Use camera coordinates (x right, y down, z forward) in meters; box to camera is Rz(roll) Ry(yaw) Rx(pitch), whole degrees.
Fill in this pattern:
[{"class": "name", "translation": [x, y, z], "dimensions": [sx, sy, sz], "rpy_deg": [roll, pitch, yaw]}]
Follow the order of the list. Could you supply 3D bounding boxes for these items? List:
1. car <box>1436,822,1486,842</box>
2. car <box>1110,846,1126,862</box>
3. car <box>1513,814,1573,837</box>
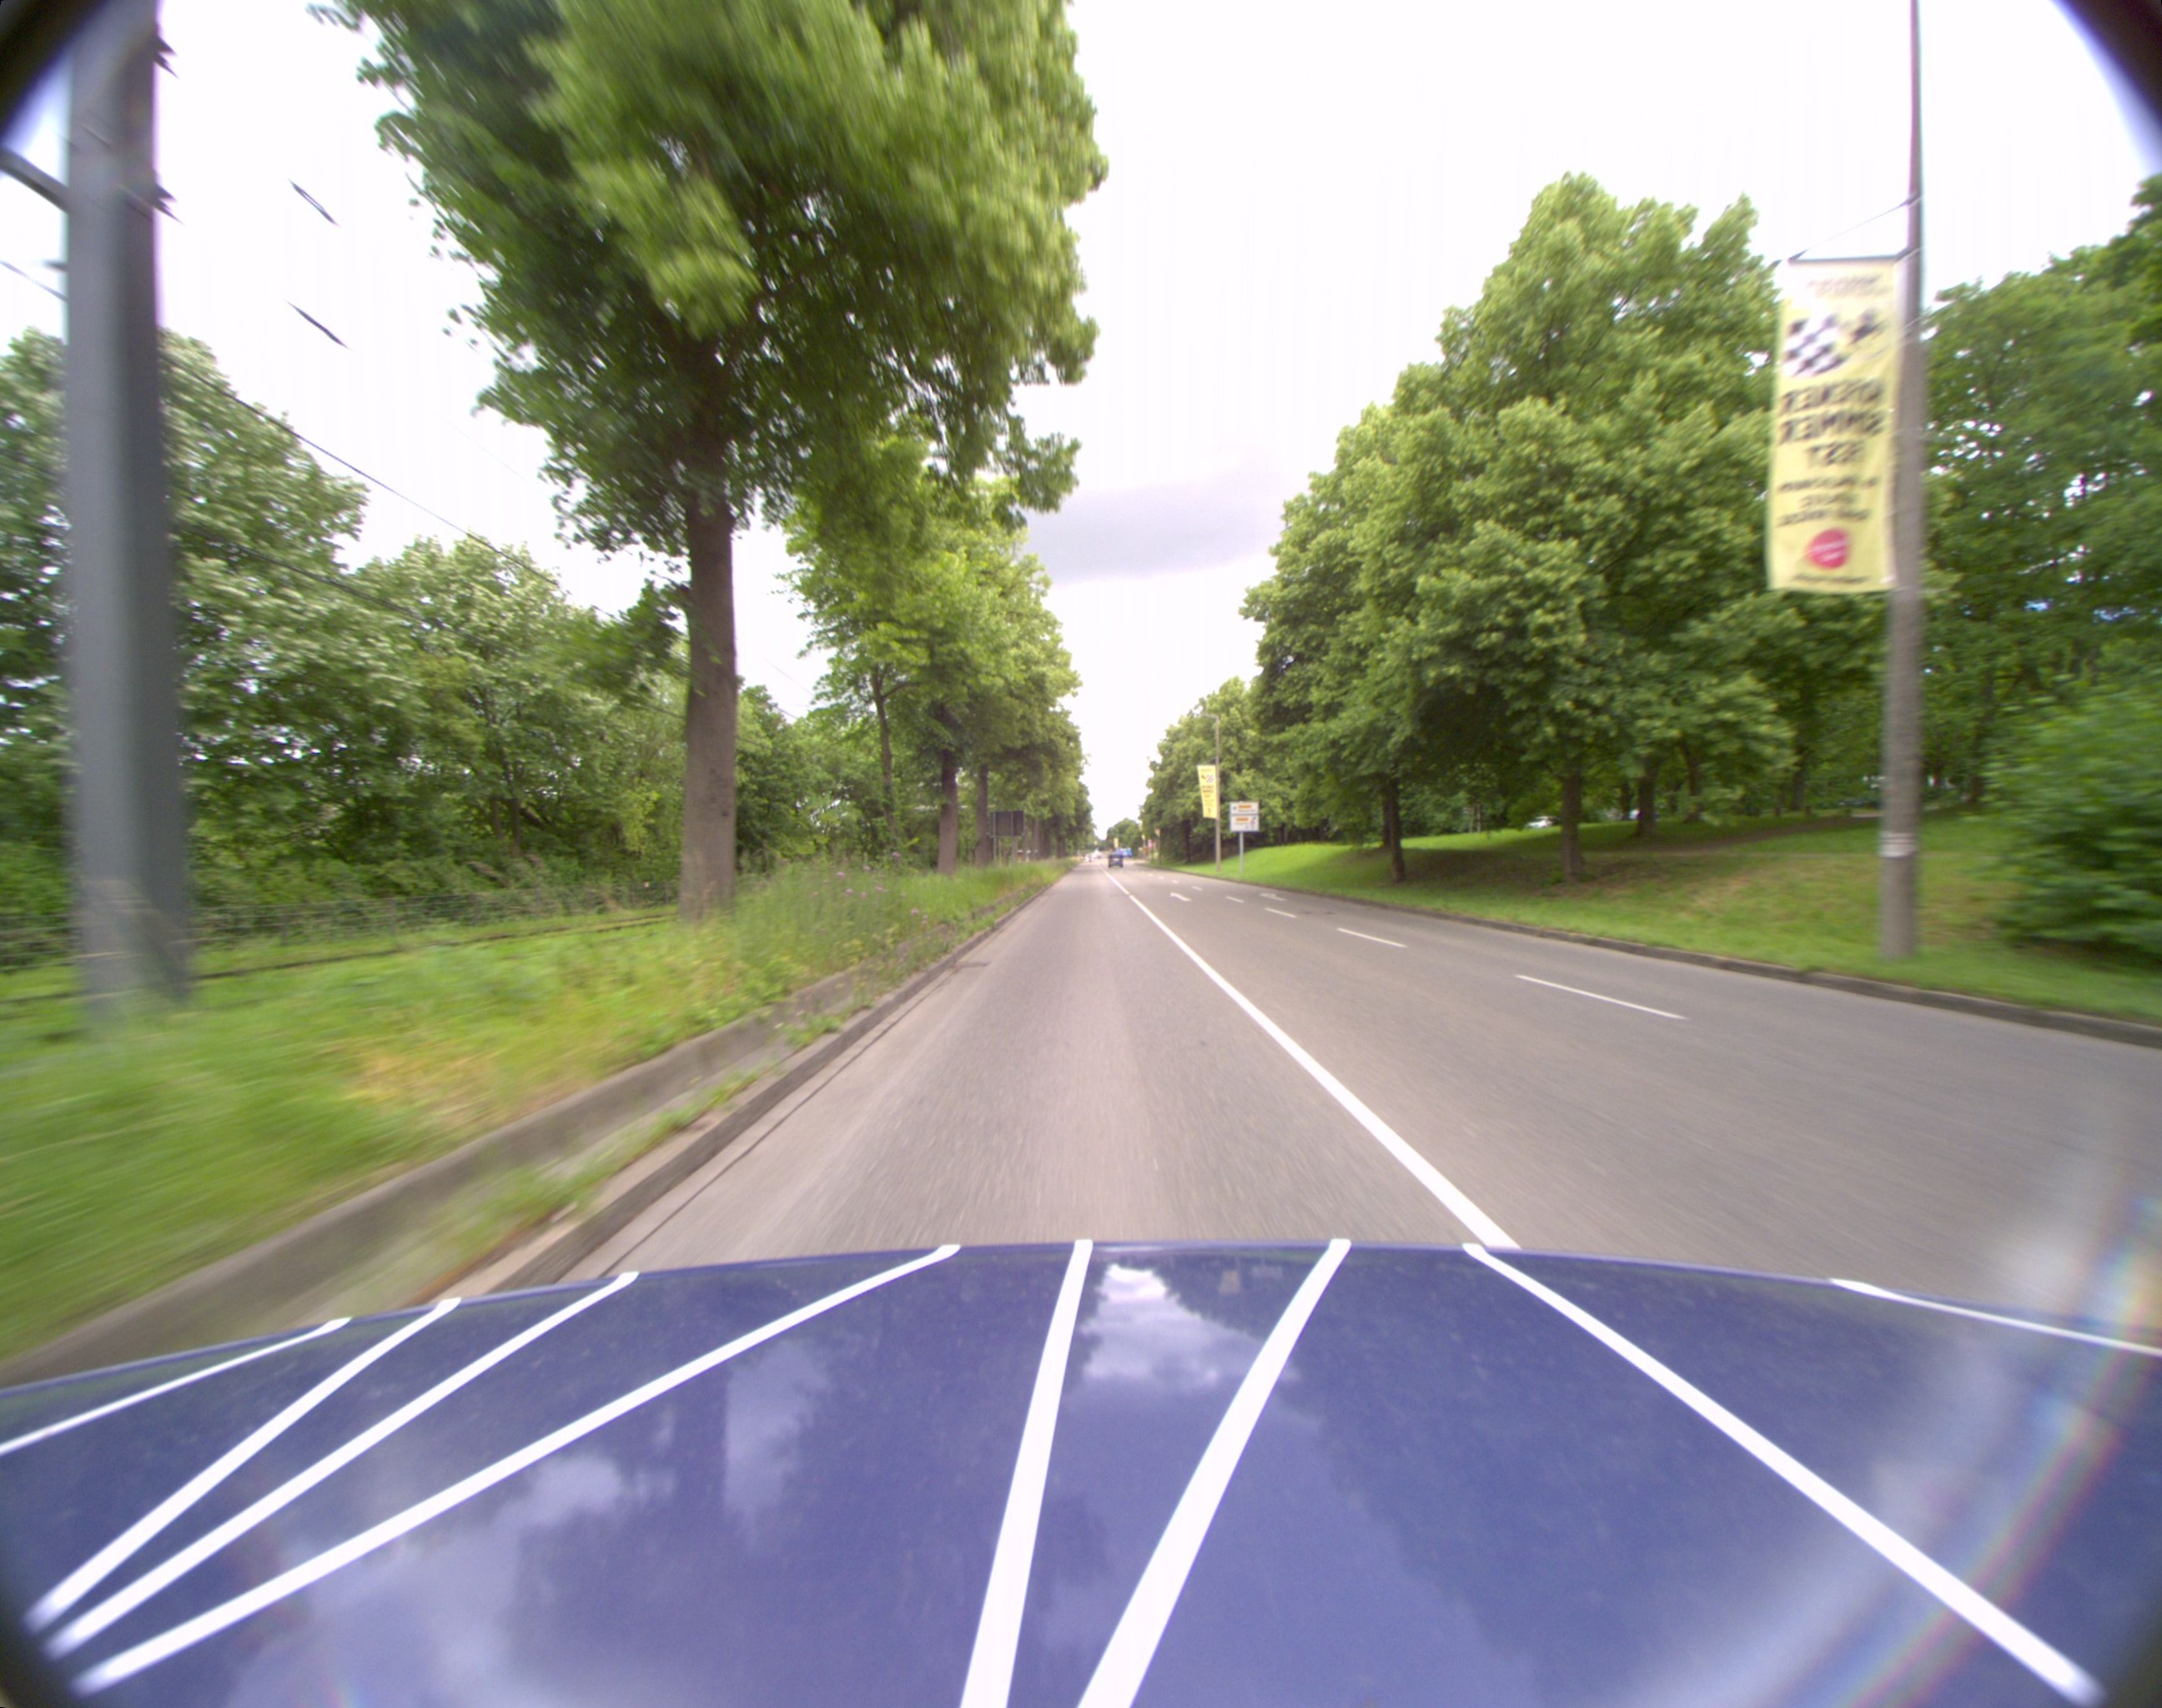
[{"class": "car", "translation": [38.413, -2.229, 76.796], "dimensions": [4.910, 1.884, 1.996], "rpy_deg": [-3, 1, -26]}, {"class": "car", "translation": [4.856, -0.040, 100.615], "dimensions": [1.998, 1.944, 5.183], "rpy_deg": [-1, 1, 1]}, {"class": "car", "translation": [42.133, -2.621, 69.261], "dimensions": [4.910, 1.884, 2.316], "rpy_deg": [-3, 1, -26]}]
